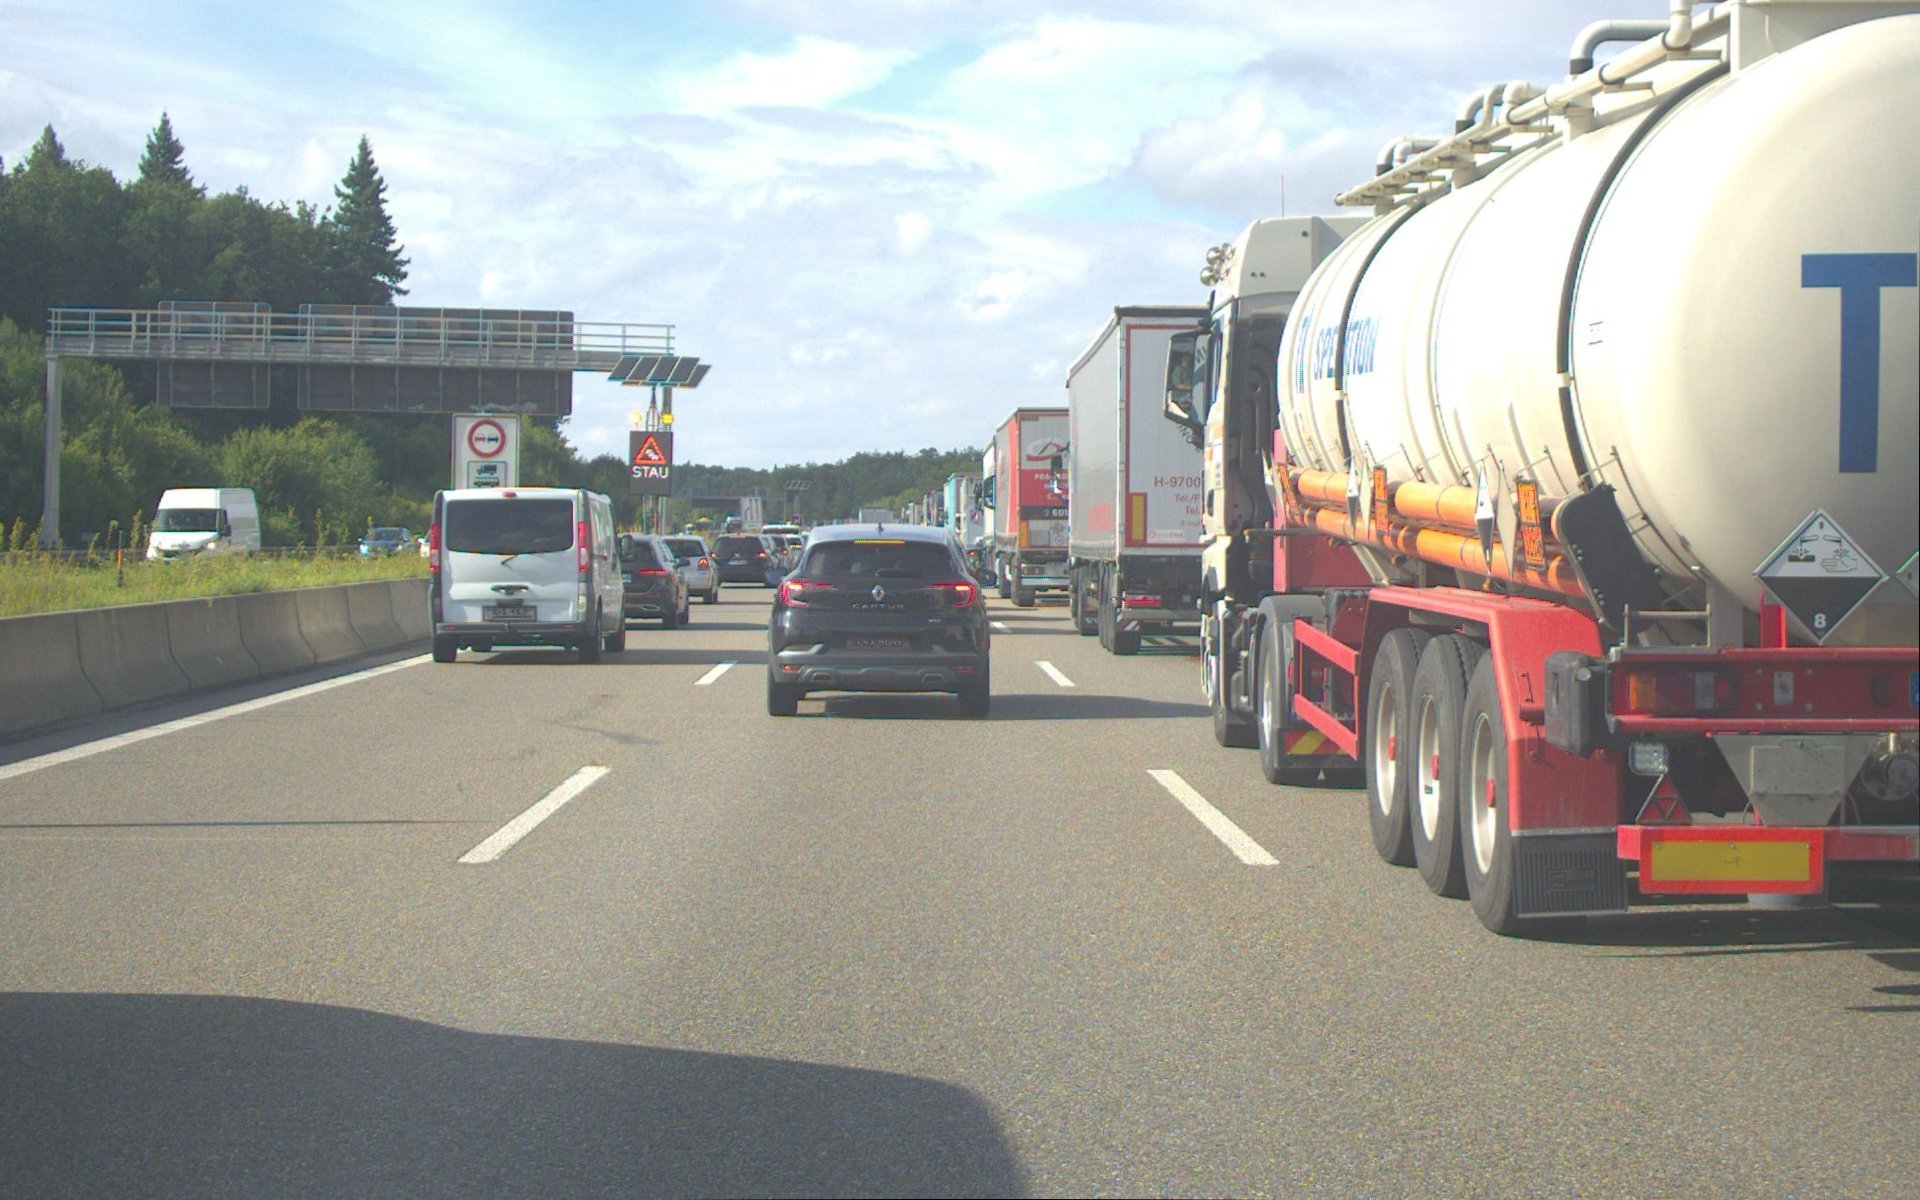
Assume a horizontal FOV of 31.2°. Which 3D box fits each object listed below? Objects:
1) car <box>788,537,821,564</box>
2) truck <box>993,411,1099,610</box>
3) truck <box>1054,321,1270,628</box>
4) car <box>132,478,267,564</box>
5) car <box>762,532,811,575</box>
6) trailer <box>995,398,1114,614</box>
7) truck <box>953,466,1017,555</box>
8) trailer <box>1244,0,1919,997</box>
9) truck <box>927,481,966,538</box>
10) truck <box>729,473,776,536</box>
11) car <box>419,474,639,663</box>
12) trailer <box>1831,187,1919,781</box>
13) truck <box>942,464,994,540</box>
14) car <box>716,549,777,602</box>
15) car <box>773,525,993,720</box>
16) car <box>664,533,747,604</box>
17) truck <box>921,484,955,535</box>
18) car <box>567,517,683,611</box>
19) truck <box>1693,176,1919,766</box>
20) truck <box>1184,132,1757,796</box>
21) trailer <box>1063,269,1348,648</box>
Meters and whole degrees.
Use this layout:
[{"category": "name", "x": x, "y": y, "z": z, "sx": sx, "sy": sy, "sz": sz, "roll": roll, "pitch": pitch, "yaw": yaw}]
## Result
[{"category": "car", "x": -6.781, "y": -2.174, "z": 150.513, "sx": 1.360, "sy": 1.155, "sz": 3.085, "roll": 0, "pitch": 1, "yaw": -1}, {"category": "truck", "x": 1.884, "y": -1.980, "z": 77.501, "sx": 2.134, "sy": 4.267, "sz": 6.339, "roll": 1, "pitch": 1, "yaw": 0}, {"category": "truck", "x": 2.874, "y": -1.775, "z": 50.583, "sx": 2.786, "sy": 4.232, "sz": 6.460, "roll": 0, "pitch": 1, "yaw": 0}, {"category": "car", "x": -21.171, "y": -2.177, "z": 95.994, "sx": 2.315, "sy": 2.185, "sz": 6.864, "roll": 3, "pitch": 1, "yaw": -2}, {"category": "car", "x": -5.653, "y": -1.523, "z": 112.398, "sx": 1.434, "sy": 1.305, "sz": 3.534, "roll": 3, "pitch": 1, "yaw": -1}, {"category": "trailer", "x": 1.902, "y": -1.914, "z": 71.943, "sx": 2.150, "sy": 4.244, "sz": 8.441, "roll": 0, "pitch": 1, "yaw": 0}, {"category": "truck", "x": 0.853, "y": -3.108, "z": 120.535, "sx": 1.993, "sy": 2.922, "sz": 4.982, "roll": 3, "pitch": 1, "yaw": 0}, {"category": "trailer", "x": 3.067, "y": -0.715, "z": 15.565, "sx": 2.541, "sy": 3.641, "sz": 10.627, "roll": 0, "pitch": 1, "yaw": -1}, {"category": "truck", "x": -0.773, "y": -5.011, "z": 191.210, "sx": 1.993, "sy": 3.042, "sz": 4.982, "roll": 3, "pitch": 1, "yaw": 0}, {"category": "truck", "x": -12.358, "y": -5.664, "z": 205.386, "sx": 2.344, "sy": 3.582, "sz": 6.306, "roll": 3, "pitch": 1, "yaw": -1}, {"category": "car", "x": -4.985, "y": -0.392, "z": 40.429, "sx": 1.933, "sy": 1.972, "sz": 5.099, "roll": 3, "pitch": 1, "yaw": -1}, {"category": "trailer", "x": 7.114, "y": -0.652, "z": 17.509, "sx": 2.541, "sy": 3.586, "sz": 10.627, "roll": 0, "pitch": 1, "yaw": -1}, {"category": "truck", "x": 0.312, "y": -4.142, "z": 145.698, "sx": 1.993, "sy": 3.042, "sz": 4.982, "roll": 3, "pitch": 1, "yaw": 0}, {"category": "car", "x": -5.786, "y": -0.679, "z": 93.333, "sx": 1.434, "sy": 1.305, "sz": 3.534, "roll": 3, "pitch": 1, "yaw": -1}, {"category": "car", "x": -0.640, "y": 0.129, "z": 28.964, "sx": 1.696, "sy": 1.478, "sz": 4.160, "roll": 1, "pitch": 2, "yaw": -1}, {"category": "car", "x": -5.388, "y": -0.675, "z": 73.087, "sx": 1.500, "sy": 1.391, "sz": 3.476, "roll": 3, "pitch": 1, "yaw": -1}, {"category": "truck", "x": -1.406, "y": -5.725, "z": 217.882, "sx": 1.993, "sy": 3.042, "sz": 4.982, "roll": 3, "pitch": 1, "yaw": 0}, {"category": "car", "x": -5.113, "y": -0.559, "z": 52.823, "sx": 1.500, "sy": 1.391, "sz": 3.476, "roll": 0, "pitch": 1, "yaw": -1}, {"category": "truck", "x": 7.037, "y": -0.827, "z": 23.476, "sx": 2.529, "sy": 3.561, "sz": 6.776, "roll": 0, "pitch": 1, "yaw": -1}, {"category": "truck", "x": 2.973, "y": -0.784, "z": 21.915, "sx": 2.533, "sy": 3.571, "sz": 6.730, "roll": 0, "pitch": 1, "yaw": -1}, {"category": "trailer", "x": 2.919, "y": -1.666, "z": 44.009, "sx": 2.802, "sy": 4.229, "sz": 11.057, "roll": 0, "pitch": 1, "yaw": 0}]
